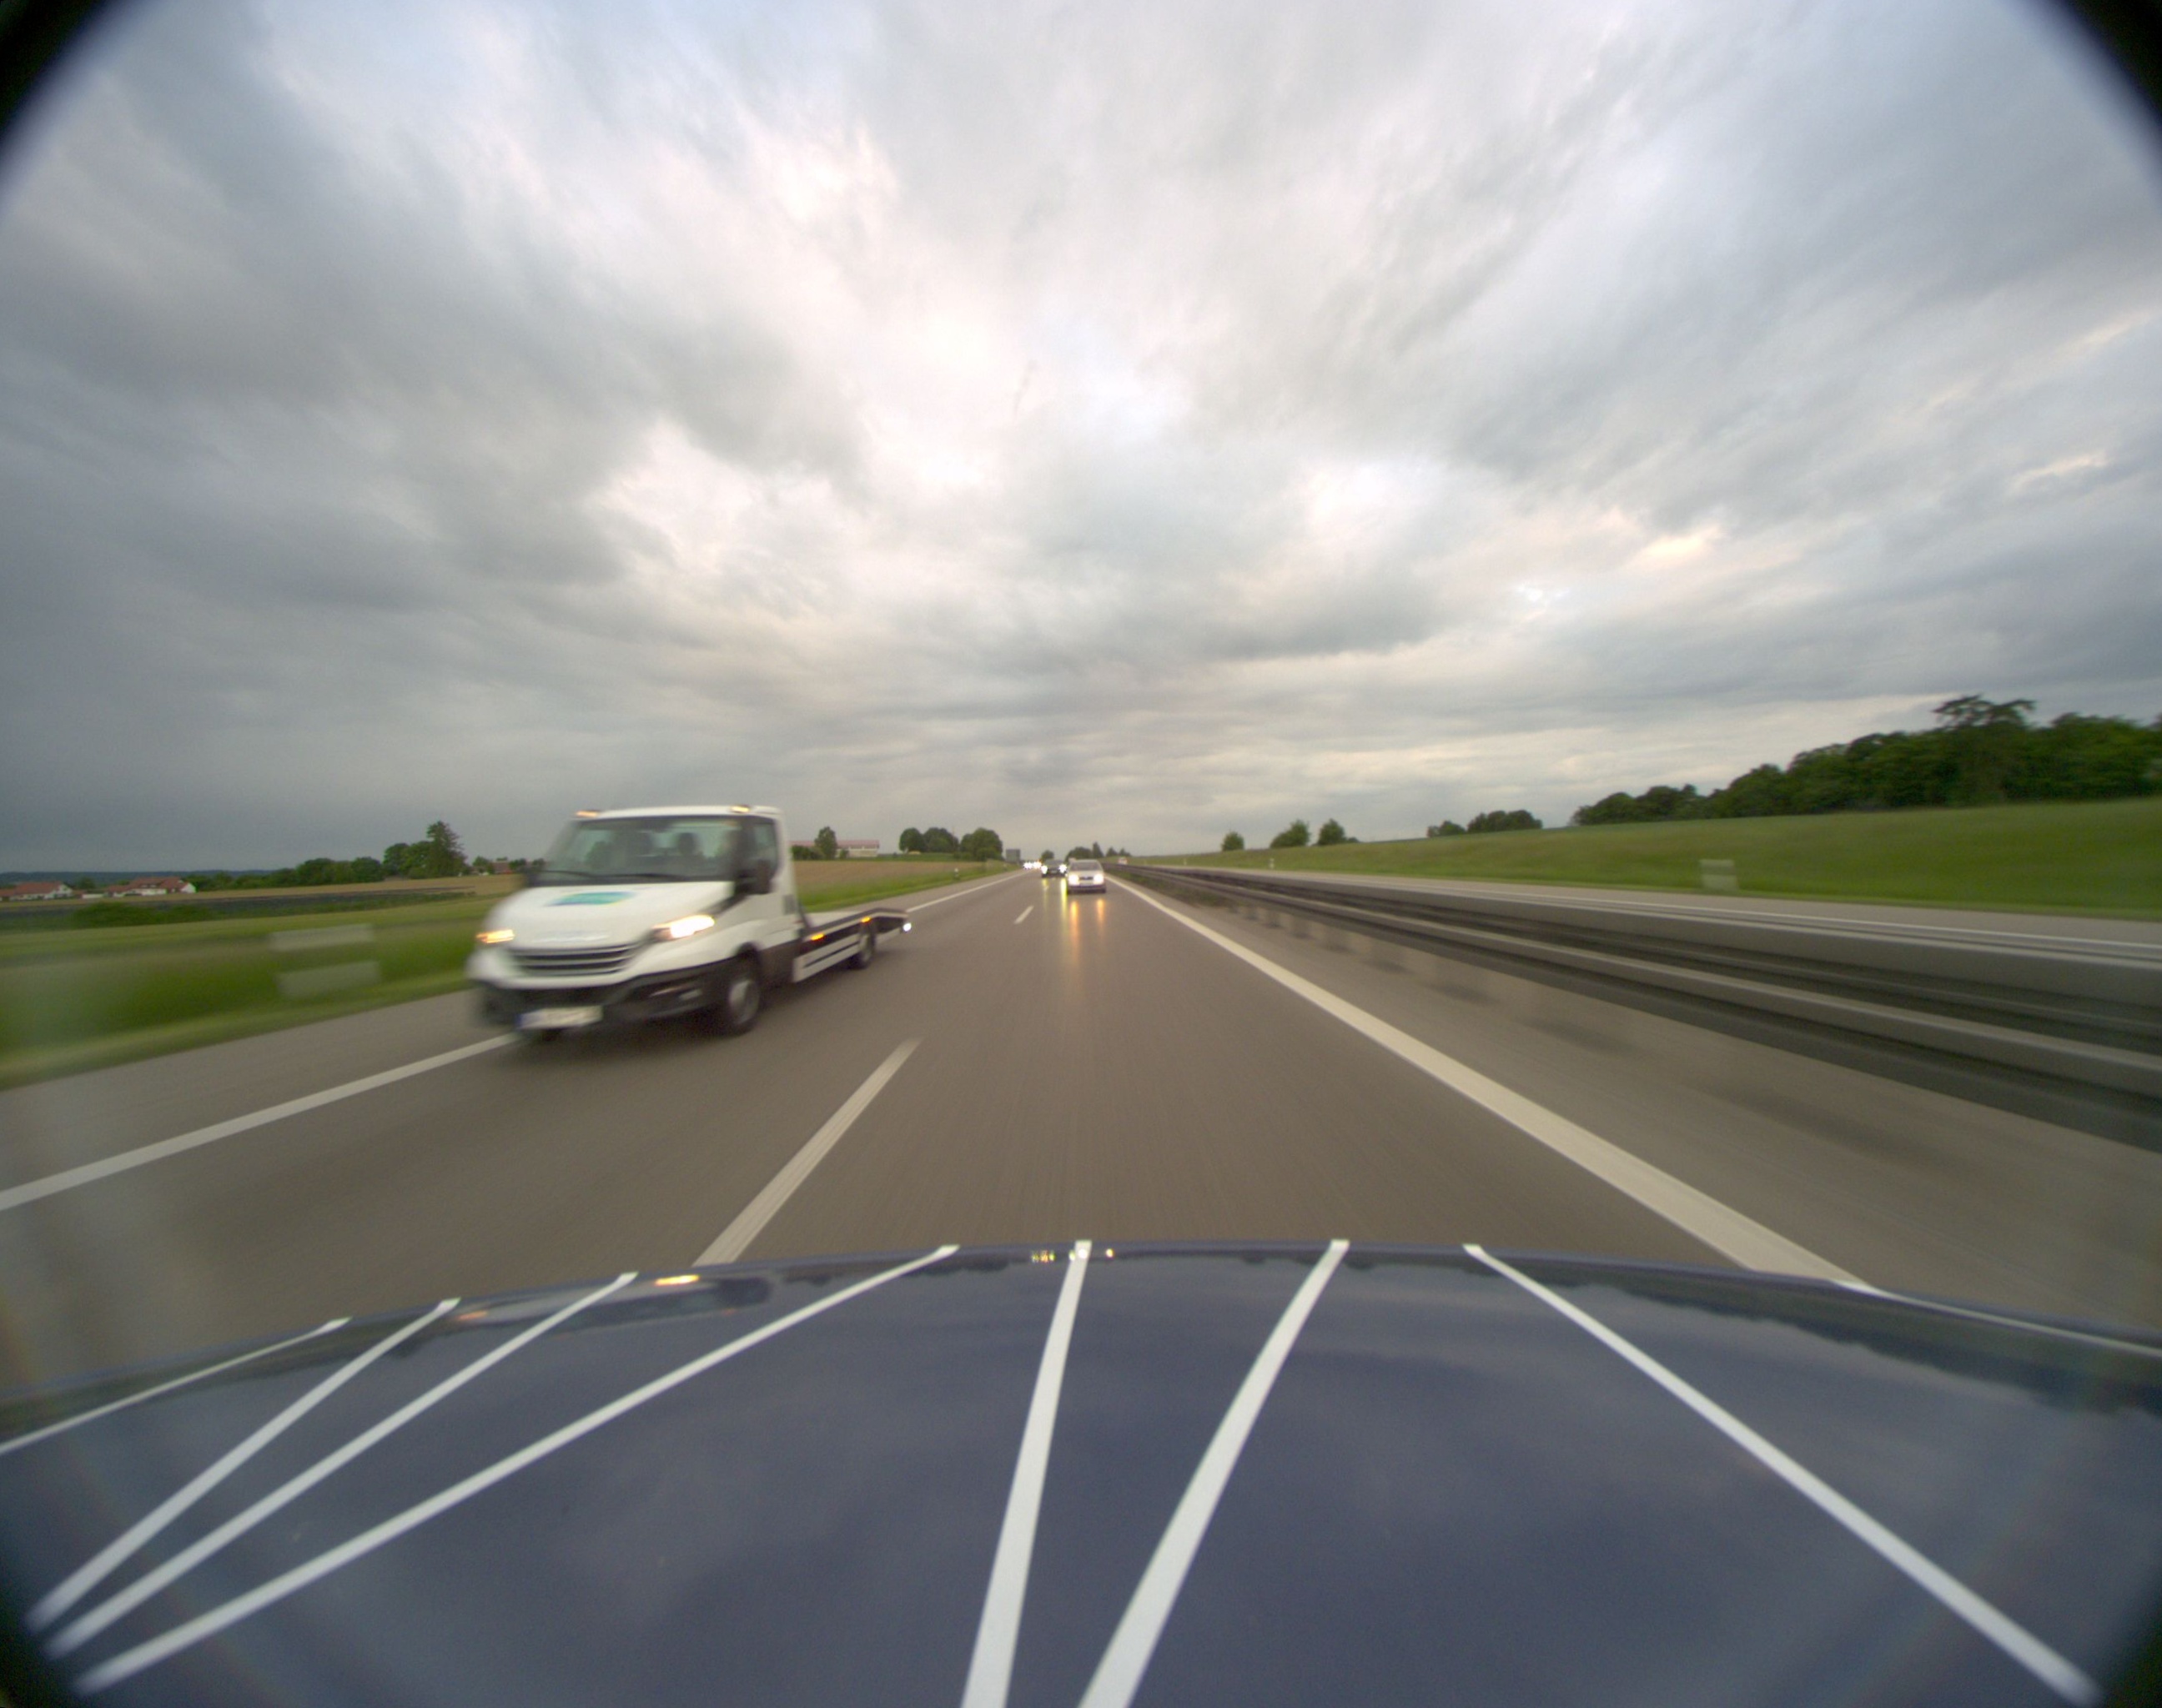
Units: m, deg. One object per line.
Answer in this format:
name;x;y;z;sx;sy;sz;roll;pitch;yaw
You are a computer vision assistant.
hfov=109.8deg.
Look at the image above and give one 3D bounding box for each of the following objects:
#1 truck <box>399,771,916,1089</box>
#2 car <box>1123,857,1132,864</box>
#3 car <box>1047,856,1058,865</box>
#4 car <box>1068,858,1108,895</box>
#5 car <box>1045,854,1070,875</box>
truck;-4.085;0.592;9.686;2.177;2.346;7.696;-3;0;0
car;10.483;1.364;170.962;1.848;1.453;4.000;-3;0;0
car;-5.175;1.125;138.779;1.807;1.619;3.902;-1;0;-5
car;0.257;0.914;32.506;1.592;1.381;4.601;0;1;0
car;-1.927;0.855;62.716;1.951;1.620;4.535;-1;0;-1
